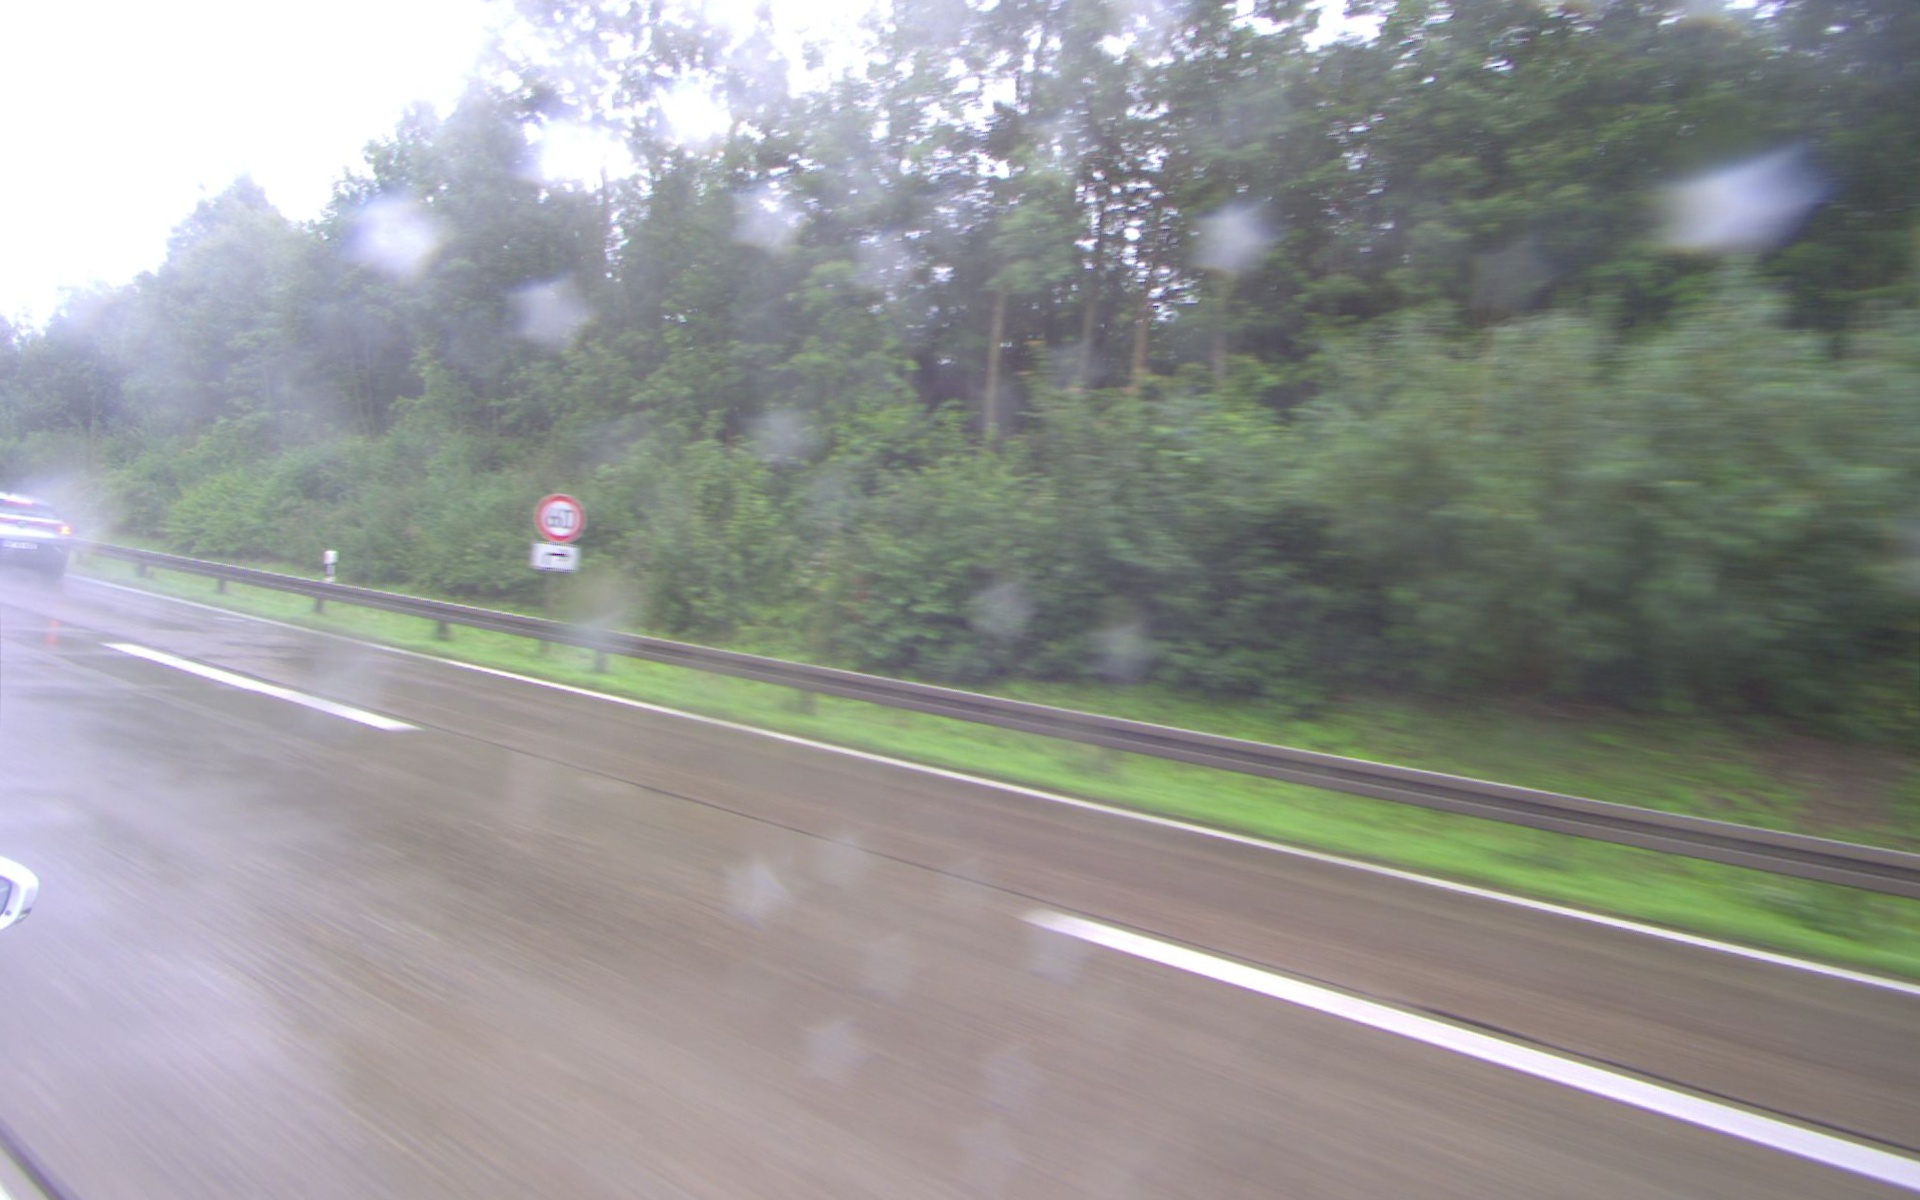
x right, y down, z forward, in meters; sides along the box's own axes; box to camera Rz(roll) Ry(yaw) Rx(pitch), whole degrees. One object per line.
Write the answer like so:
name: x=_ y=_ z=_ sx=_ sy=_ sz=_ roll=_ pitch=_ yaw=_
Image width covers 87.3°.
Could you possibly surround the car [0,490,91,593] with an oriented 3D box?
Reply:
car: x=-19.946 y=-1.359 z=20.272 sx=5.569 sy=1.771 sz=1.997 roll=6 pitch=-2 yaw=32
